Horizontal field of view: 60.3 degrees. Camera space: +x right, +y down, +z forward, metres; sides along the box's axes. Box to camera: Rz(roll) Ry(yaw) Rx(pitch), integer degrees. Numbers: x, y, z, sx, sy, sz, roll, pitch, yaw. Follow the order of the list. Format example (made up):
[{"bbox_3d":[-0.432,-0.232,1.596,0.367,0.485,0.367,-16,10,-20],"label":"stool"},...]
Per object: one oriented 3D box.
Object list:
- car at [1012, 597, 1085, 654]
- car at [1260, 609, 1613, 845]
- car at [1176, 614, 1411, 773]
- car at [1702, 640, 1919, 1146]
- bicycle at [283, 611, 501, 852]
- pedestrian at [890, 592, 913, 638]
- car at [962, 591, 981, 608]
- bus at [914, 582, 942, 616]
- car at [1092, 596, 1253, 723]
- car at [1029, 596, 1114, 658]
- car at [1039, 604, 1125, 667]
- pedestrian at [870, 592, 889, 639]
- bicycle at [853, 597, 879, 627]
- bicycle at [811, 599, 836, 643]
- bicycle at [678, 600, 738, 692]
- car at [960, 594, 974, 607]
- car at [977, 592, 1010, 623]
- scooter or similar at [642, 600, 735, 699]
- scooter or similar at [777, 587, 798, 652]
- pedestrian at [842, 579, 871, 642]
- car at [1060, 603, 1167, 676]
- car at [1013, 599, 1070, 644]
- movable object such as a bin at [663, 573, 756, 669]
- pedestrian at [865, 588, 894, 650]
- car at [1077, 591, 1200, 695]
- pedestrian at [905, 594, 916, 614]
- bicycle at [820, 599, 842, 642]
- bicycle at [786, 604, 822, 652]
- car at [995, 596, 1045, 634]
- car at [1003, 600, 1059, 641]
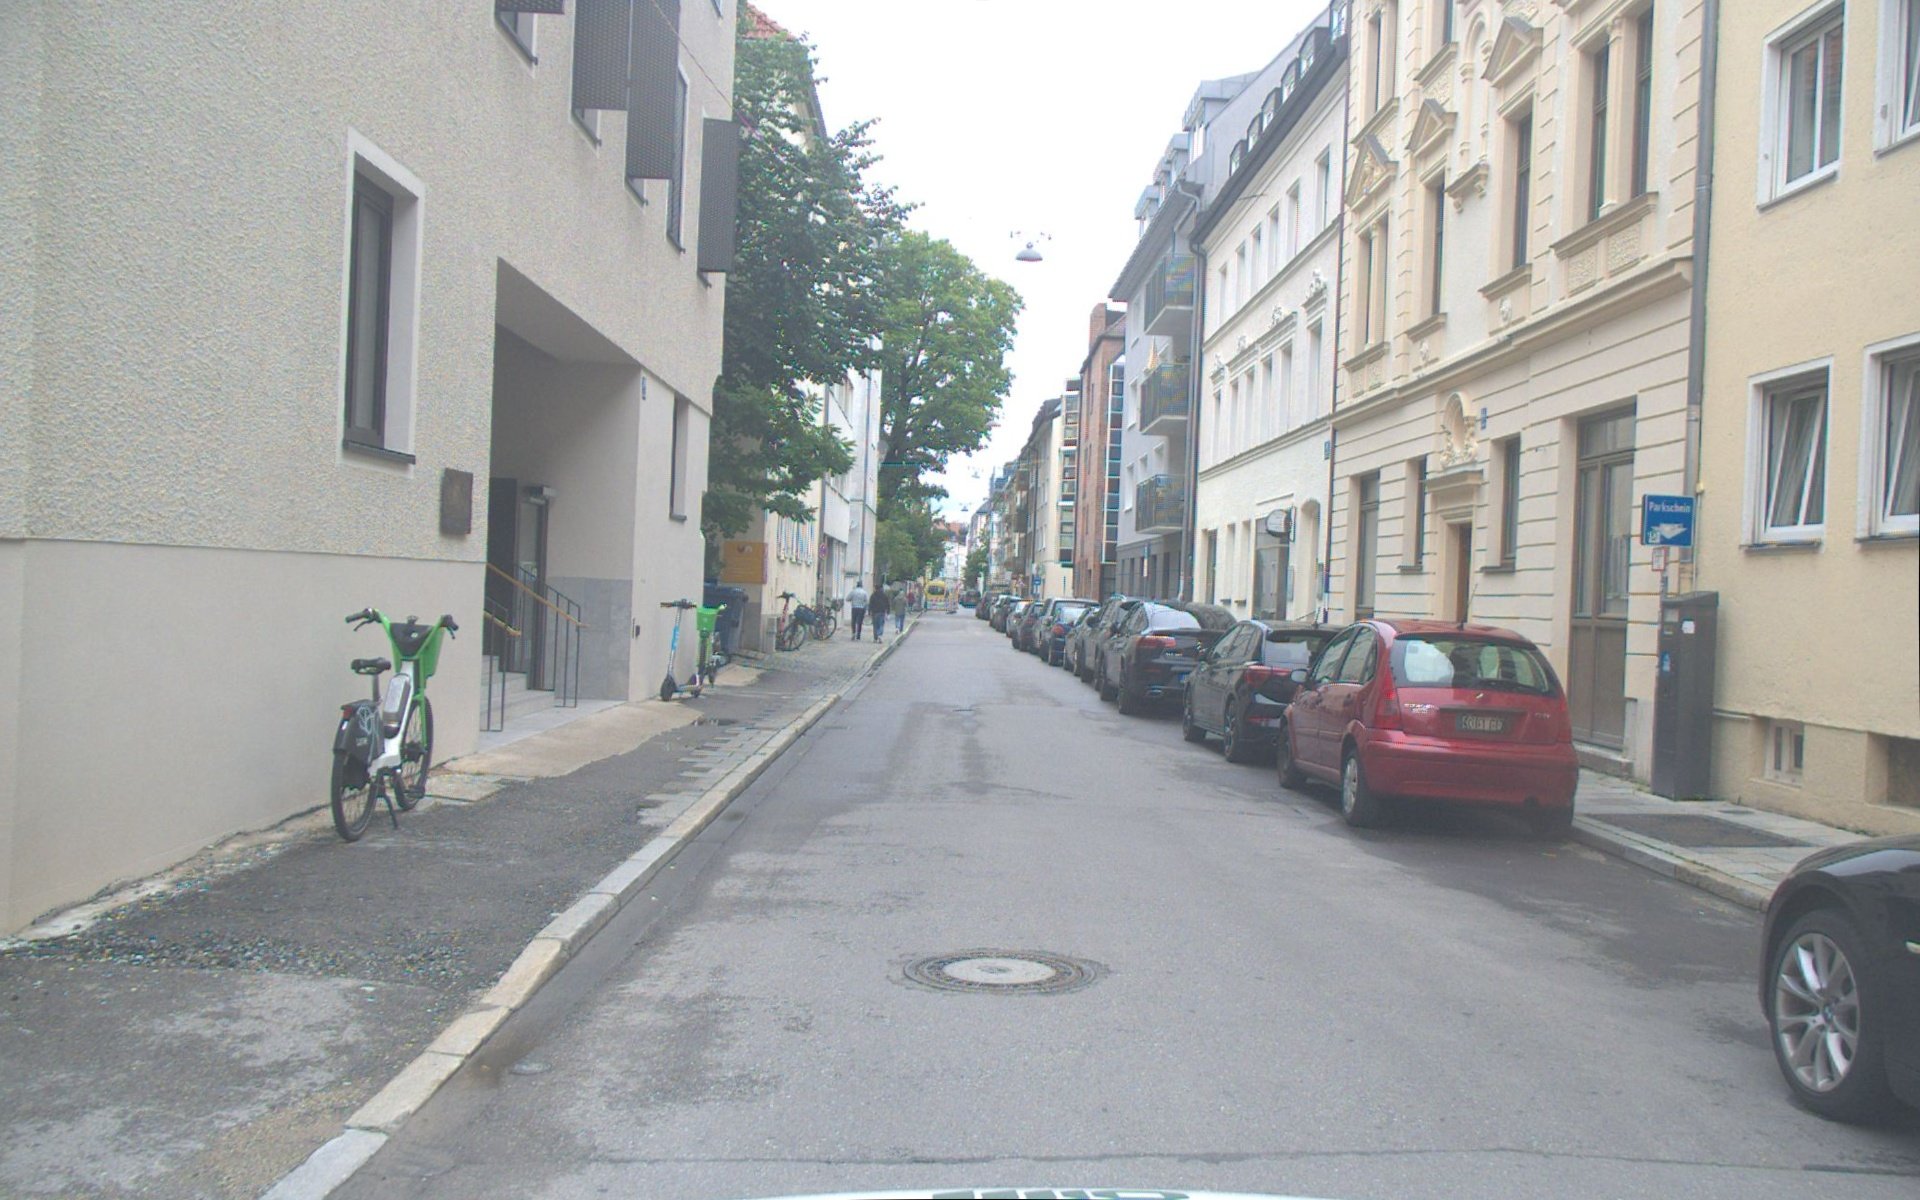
[{"bbox_3d":[2.610,0.734,49.752,1.802,1.555,4.291,3,0,-2],"label":"car"},{"bbox_3d":[3.643,0.889,13.351,1.642,1.518,3.853,2,0,-1],"label":"car"},{"bbox_3d":[3.490,0.918,18.018,1.642,1.417,4.065,2,0,-1],"label":"car"},{"bbox_3d":[3.610,0.923,3.596,1.789,1.357,4.507,6,0,-1],"label":"car"},{"bbox_3d":[-3.107,0.663,9.239,0.527,1.158,1.916,4,0,-1],"label":"bicycle"},{"bbox_3d":[-2.230,0.552,62.860,0.738,1.687,0.906,4,-1,-1],"label":"pedestrian"},{"bbox_3d":[1.292,-0.080,188.888,1.766,1.741,3.825,6,0,-2],"label":"car"},{"bbox_3d":[-3.004,-0.081,156.889,2.540,3.156,6.305,1,0,0],"label":"bus"},{"bbox_3d":[3.038,0.793,24.548,1.667,1.635,4.684,2,0,-1],"label":"car"},{"bbox_3d":[2.976,0.693,44.872,1.838,1.598,4.314,1,0,-2],"label":"car"},{"bbox_3d":[2.899,0.826,39.951,1.771,1.387,3.945,1,0,0],"label":"car"},{"bbox_3d":[-3.056,0.586,62.916,0.600,1.743,0.823,4,-1,-1],"label":"pedestrian"},{"bbox_3d":[-4.019,0.514,70.756,0.631,1.239,1.655,2,0,-19],"label":"bicycle"},{"bbox_3d":[-3.794,0.571,46.080,0.448,1.179,1.605,4,0,0],"label":"bicycle"},{"bbox_3d":[-3.465,0.616,22.875,0.533,1.181,1.881,4,0,-2],"label":"bicycle"},{"bbox_3d":[0.924,0.105,217.162,1.764,1.642,4.000,3,0,0],"label":"car"},{"bbox_3d":[2.232,0.469,111.097,1.766,1.851,3.998,6,0,-3],"label":"car"},{"bbox_3d":[-3.397,0.622,20.811,0.540,1.163,1.359,4,0,16],"label":"scooter or similar"},{"bbox_3d":[-3.767,0.427,36.206,0.311,1.400,1.239,1,-1,-1],"label":"scooter or similar"},{"bbox_3d":[-3.089,0.306,49.300,0.704,1.828,0.916,4,-1,0],"label":"pedestrian"},{"bbox_3d":[3.212,0.794,35.419,1.763,1.410,4.348,1,0,-1],"label":"car"},{"bbox_3d":[2.927,0.758,60.174,1.710,1.487,4.149,3,0,-2],"label":"car"},{"bbox_3d":[-4.266,0.333,28.319,1.150,1.466,1.249,7,1,5],"label":"movable object such as a bin"},{"bbox_3d":[-2.405,0.573,49.609,0.704,1.796,0.838,4,-1,-1],"label":"pedestrian"},{"bbox_3d":[3.182,0.721,30.275,1.642,1.690,4.512,2,0,-1],"label":"car"},{"bbox_3d":[-3.664,0.301,123.058,0.740,1.517,0.831,1,-1,-1],"label":"pedestrian"},{"bbox_3d":[-3.736,0.582,47.796,0.551,1.179,1.718,2,0,-6],"label":"bicycle"},{"bbox_3d":[-3.566,0.631,37.940,0.690,1.001,1.821,6,-1,-5],"label":"bicycle"},{"bbox_3d":[2.658,0.637,74.618,1.848,1.582,4.389,3,0,-3],"label":"car"},{"bbox_3d":[2.755,0.787,64.771,1.799,1.442,4.599,3,0,-2],"label":"car"}]
